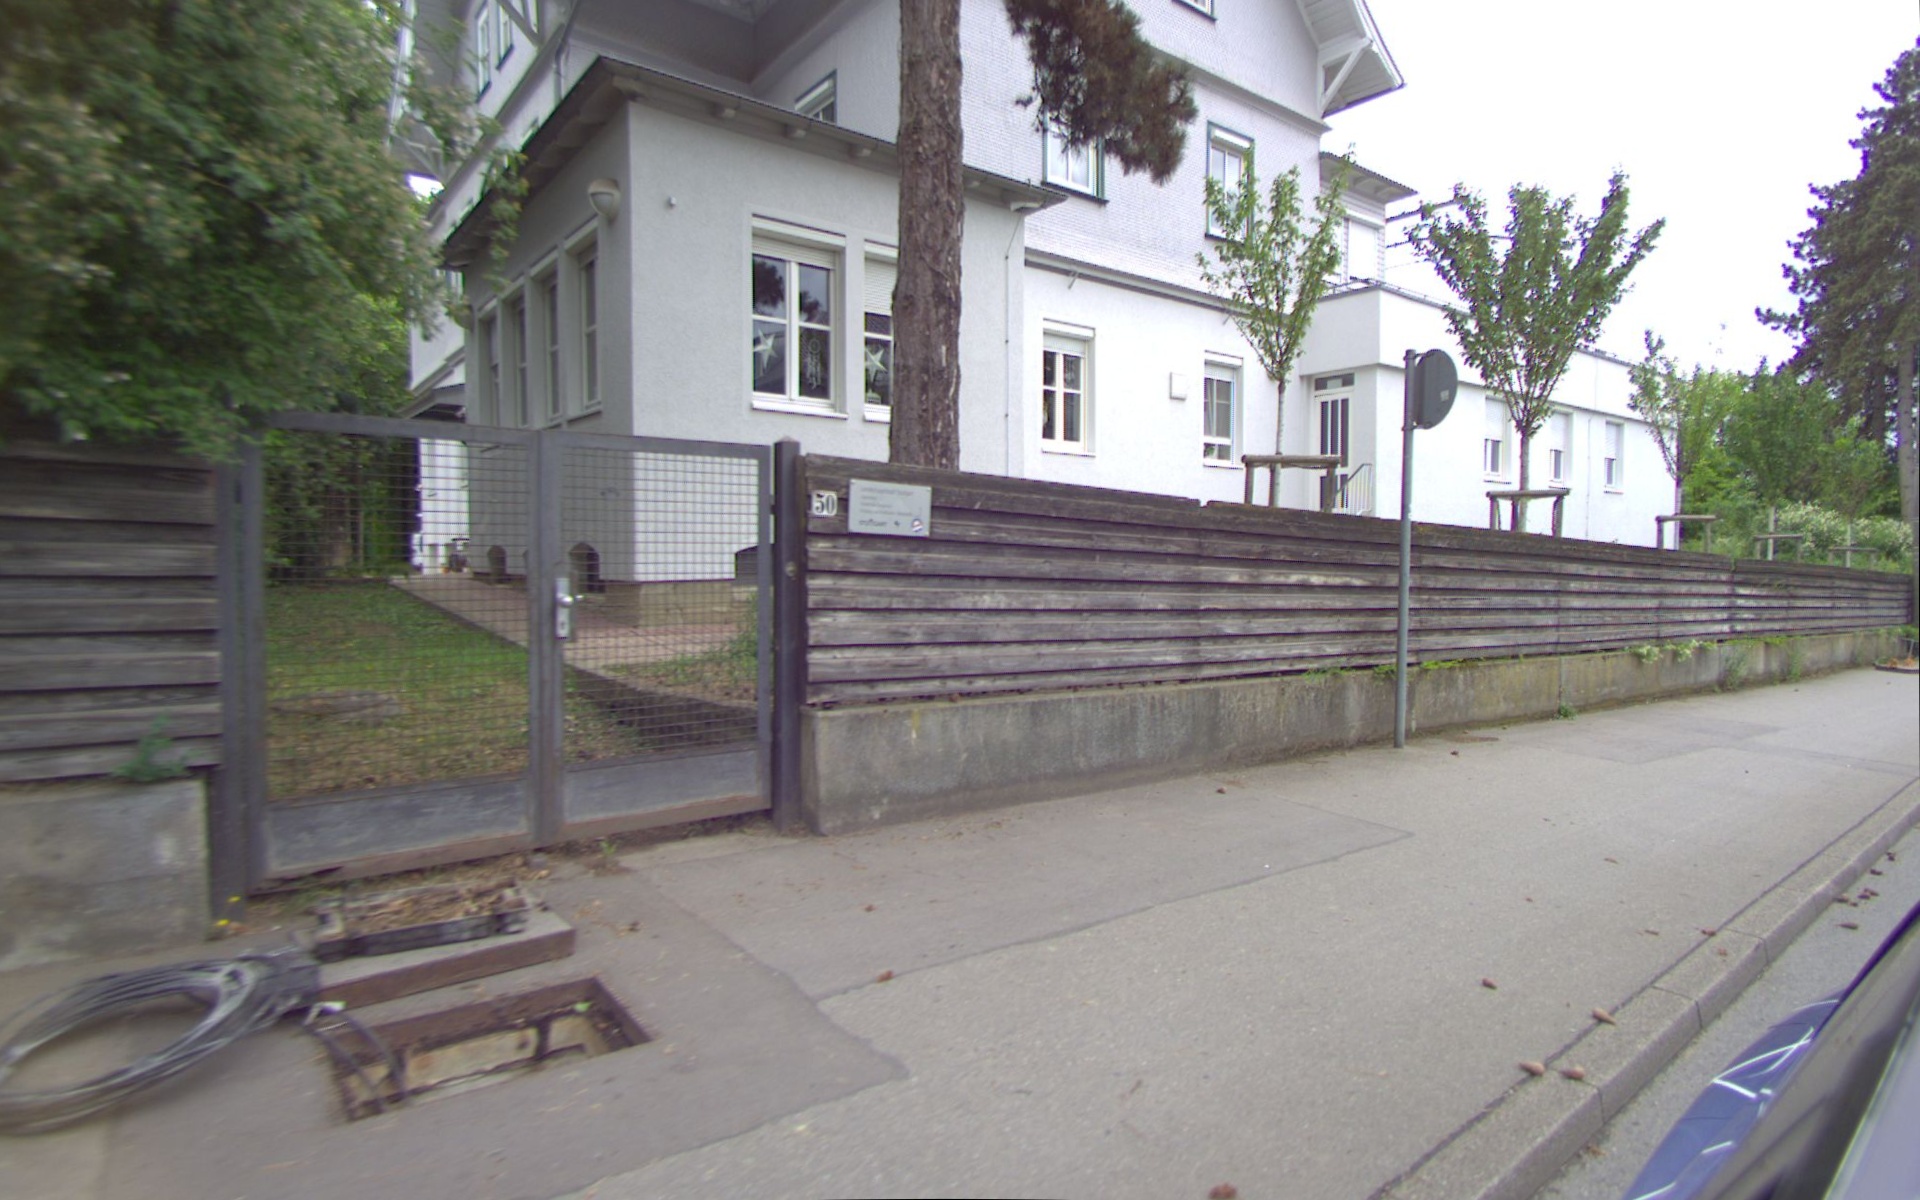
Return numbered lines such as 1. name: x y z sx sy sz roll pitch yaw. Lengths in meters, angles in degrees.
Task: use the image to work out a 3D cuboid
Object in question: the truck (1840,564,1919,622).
1. truck: 41.530 -0.299 44.601 2.379 2.381 6.137 2 1 25
